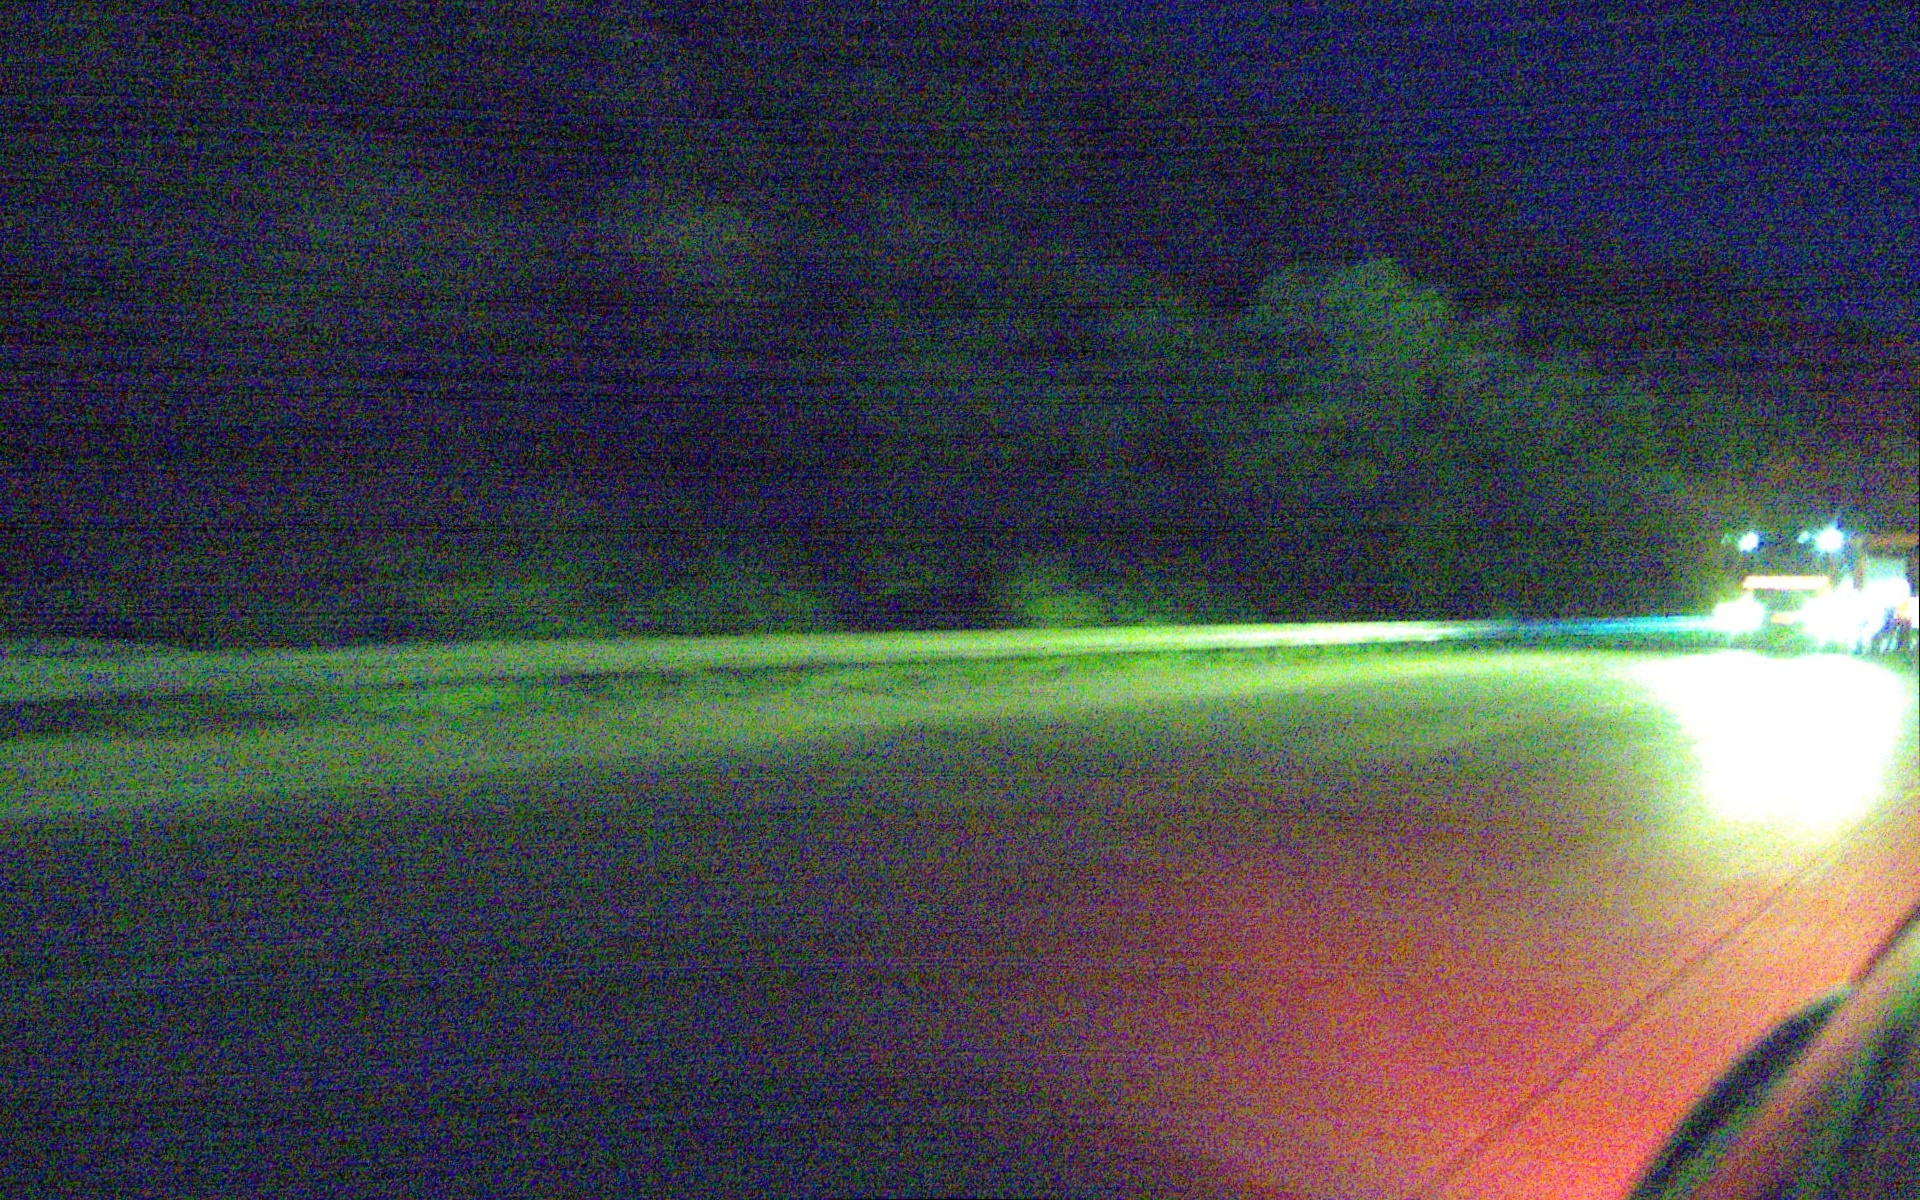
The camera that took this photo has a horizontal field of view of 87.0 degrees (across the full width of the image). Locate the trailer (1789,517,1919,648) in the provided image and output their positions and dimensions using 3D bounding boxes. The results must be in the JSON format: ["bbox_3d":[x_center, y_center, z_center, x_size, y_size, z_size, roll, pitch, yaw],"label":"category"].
[{"bbox_3d":[33.224,-0.444,35.676,12.640,3.982,2.883,1,-1,-35],"label":"trailer"}]

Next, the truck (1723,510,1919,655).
[{"bbox_3d":[26.311,-0.494,30.688,7.902,3.888,2.875,0,0,-36],"label":"truck"}]
